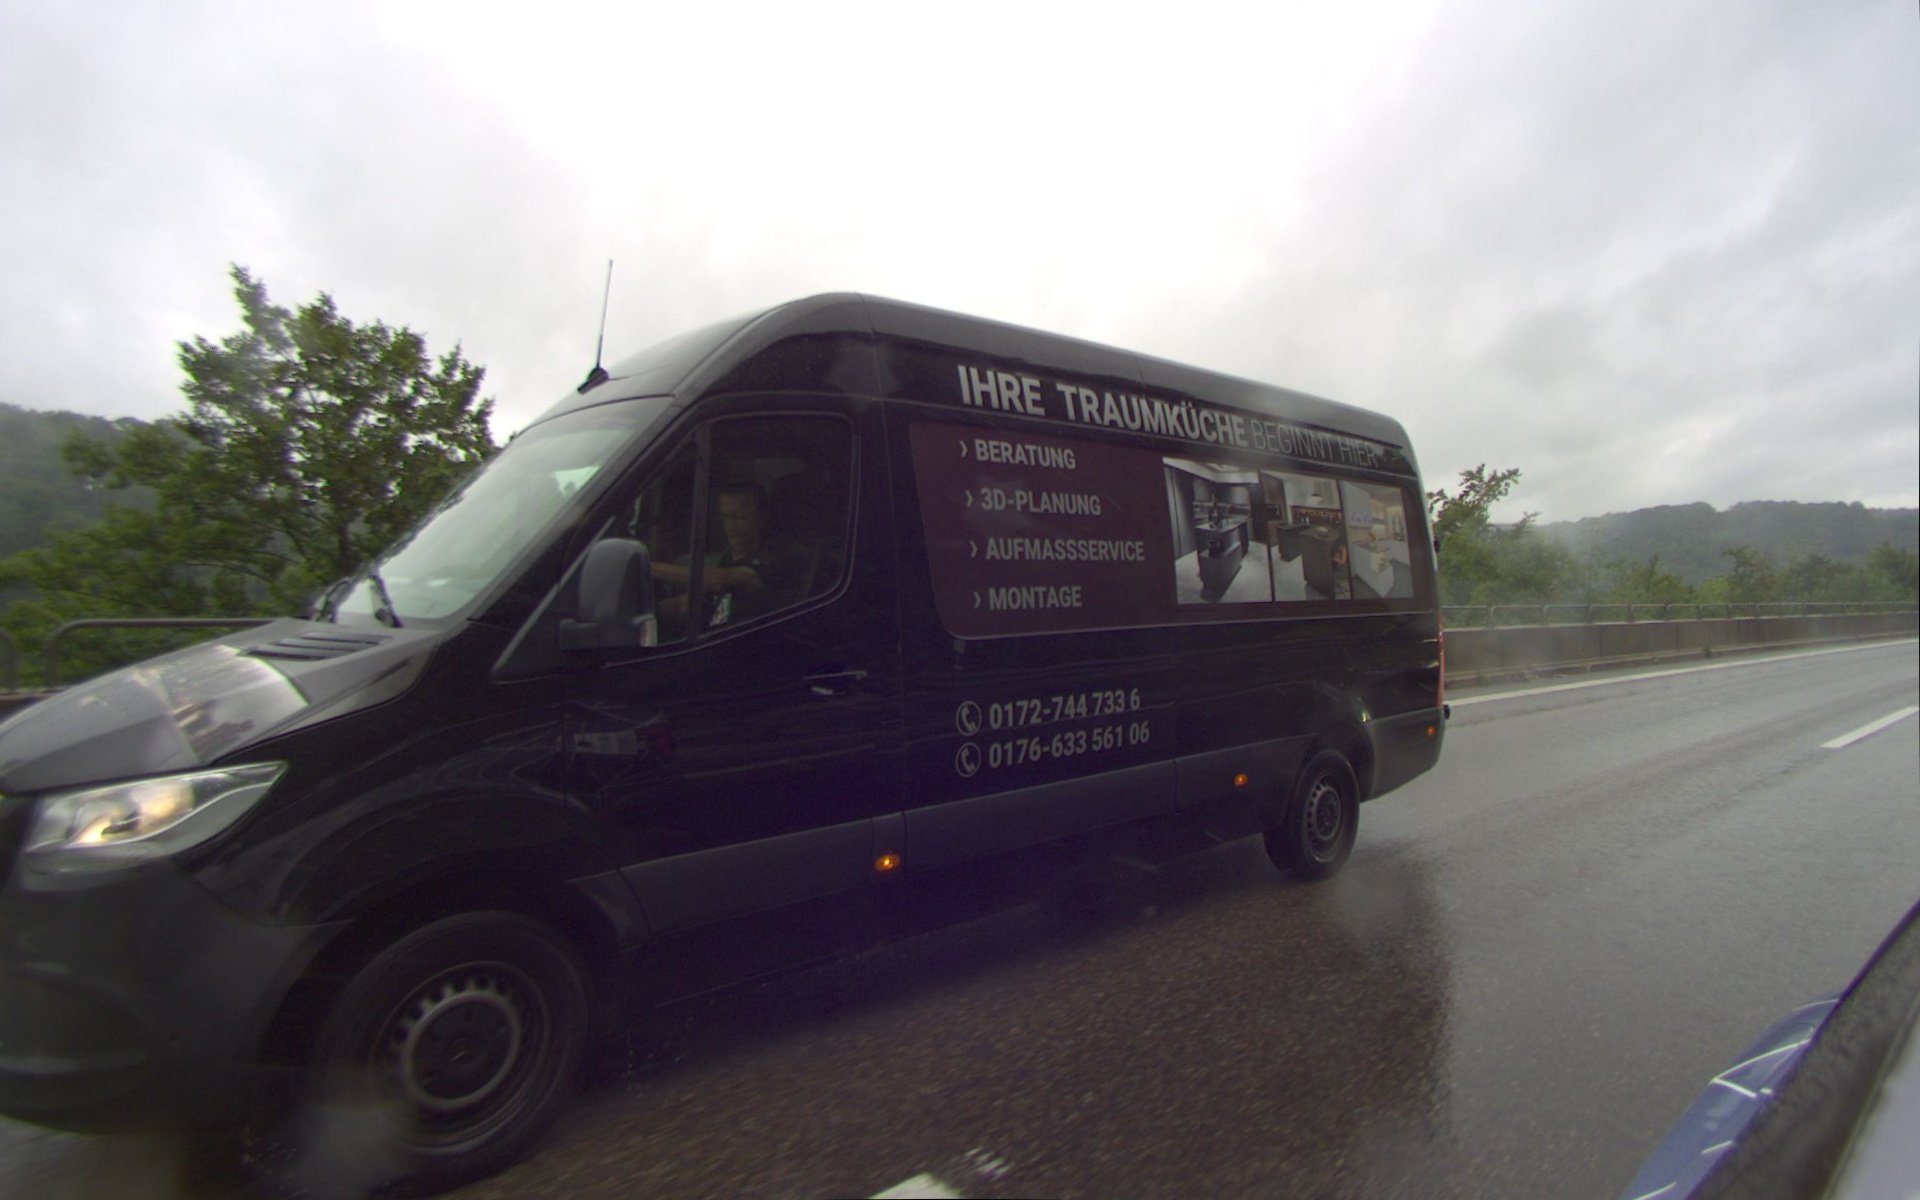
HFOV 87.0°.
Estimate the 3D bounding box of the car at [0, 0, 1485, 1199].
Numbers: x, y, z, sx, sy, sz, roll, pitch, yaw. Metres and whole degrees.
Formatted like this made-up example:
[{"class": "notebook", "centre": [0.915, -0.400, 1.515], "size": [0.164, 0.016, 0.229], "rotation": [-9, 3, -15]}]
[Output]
[{"class": "car", "centre": [0.032, 0.060, 4.749], "size": [6.586, 2.525, 1.997], "rotation": [0, 0, -41]}]
